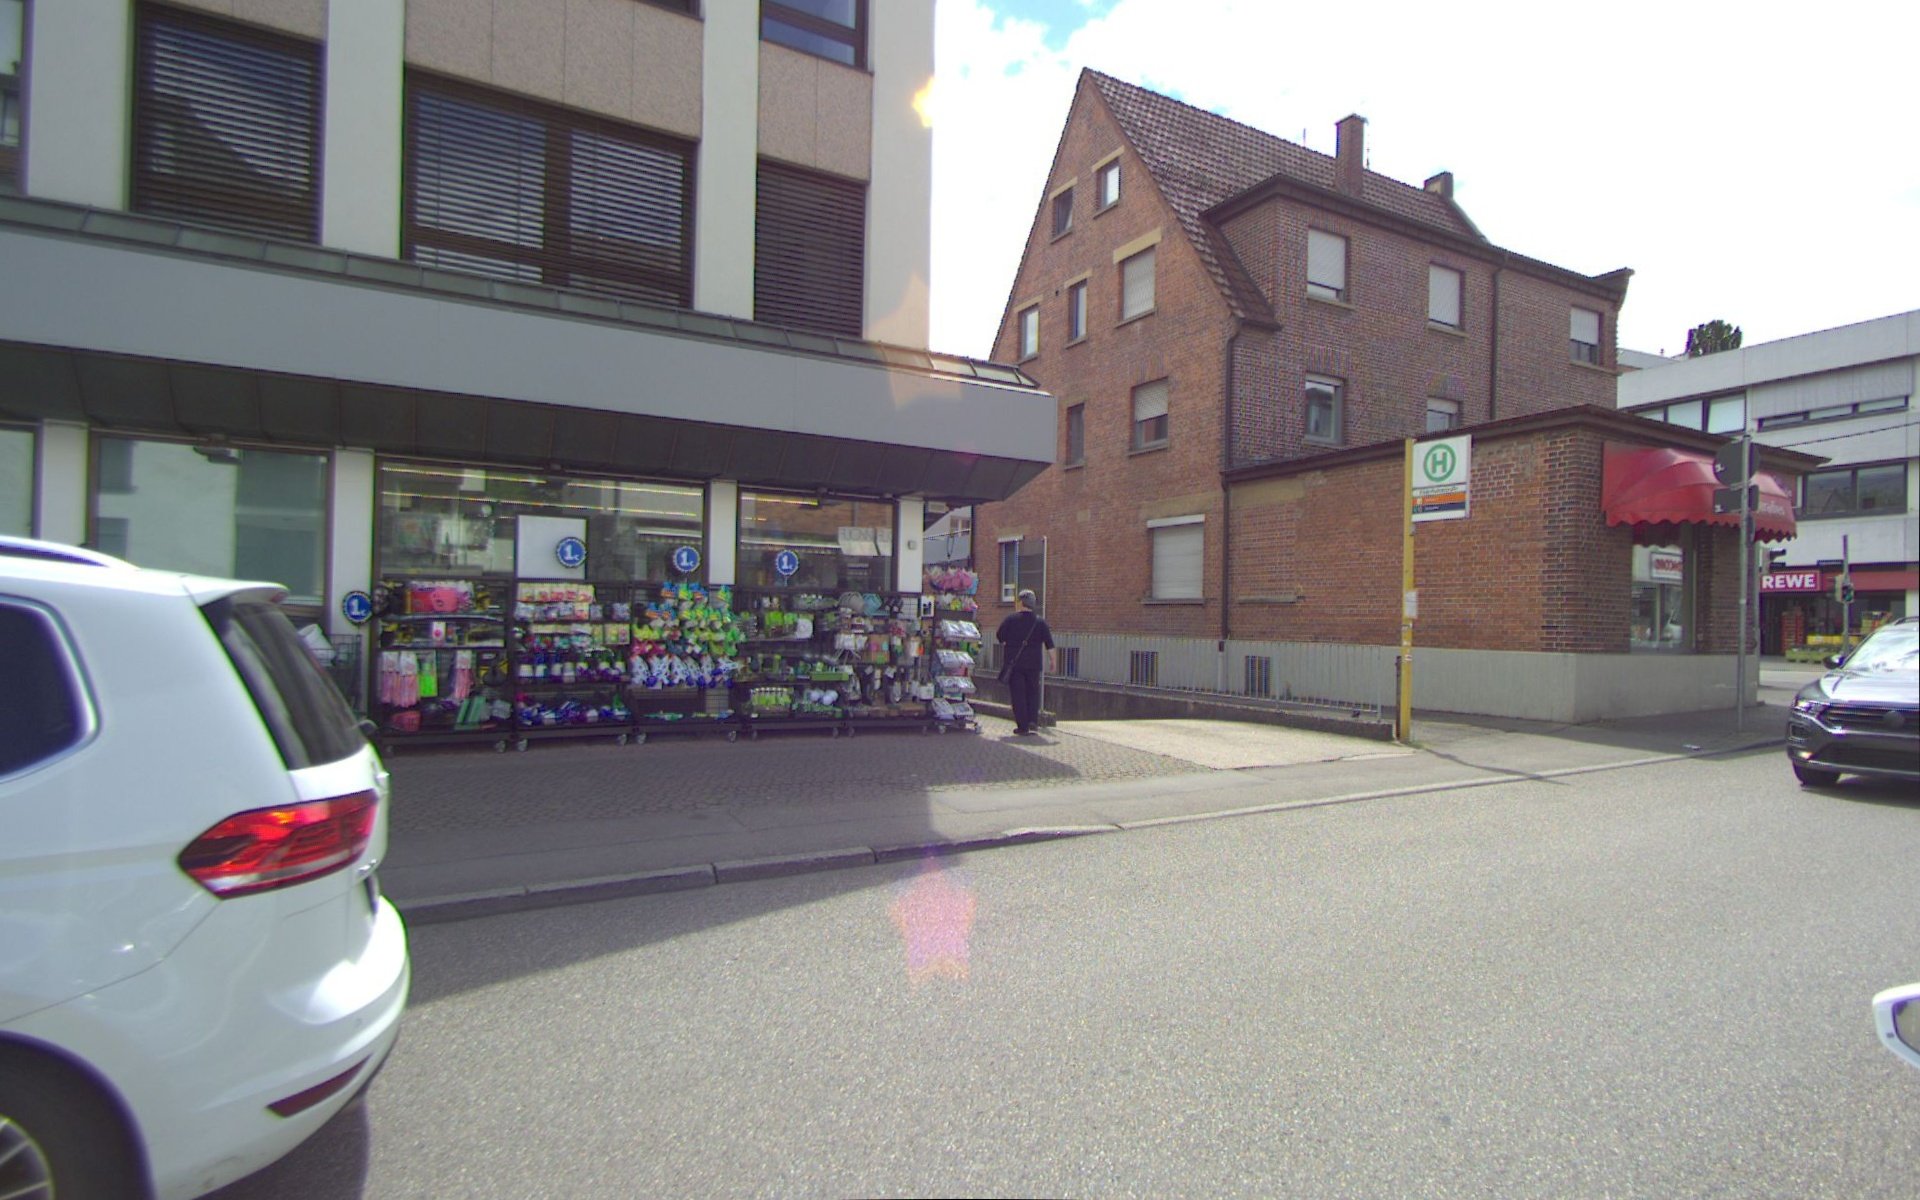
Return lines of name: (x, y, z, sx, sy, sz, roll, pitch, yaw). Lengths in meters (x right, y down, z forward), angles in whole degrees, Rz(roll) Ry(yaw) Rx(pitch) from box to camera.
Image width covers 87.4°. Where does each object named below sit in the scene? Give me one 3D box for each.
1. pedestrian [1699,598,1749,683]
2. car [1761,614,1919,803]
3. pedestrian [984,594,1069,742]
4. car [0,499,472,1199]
pedestrian: (16.919, 0.893, 22.243, 0.712, 1.820, 0.622, 3, -1, -32)
car: (9.314, 0.901, 9.323, 3.802, 1.531, 1.781, 1, -1, -32)
pedestrian: (0.755, 0.745, 11.311, 0.757, 1.579, 0.574, 3, -1, 20)
car: (-3.286, 0.625, 1.922, 4.073, 1.634, 1.766, 2, -3, -32)
